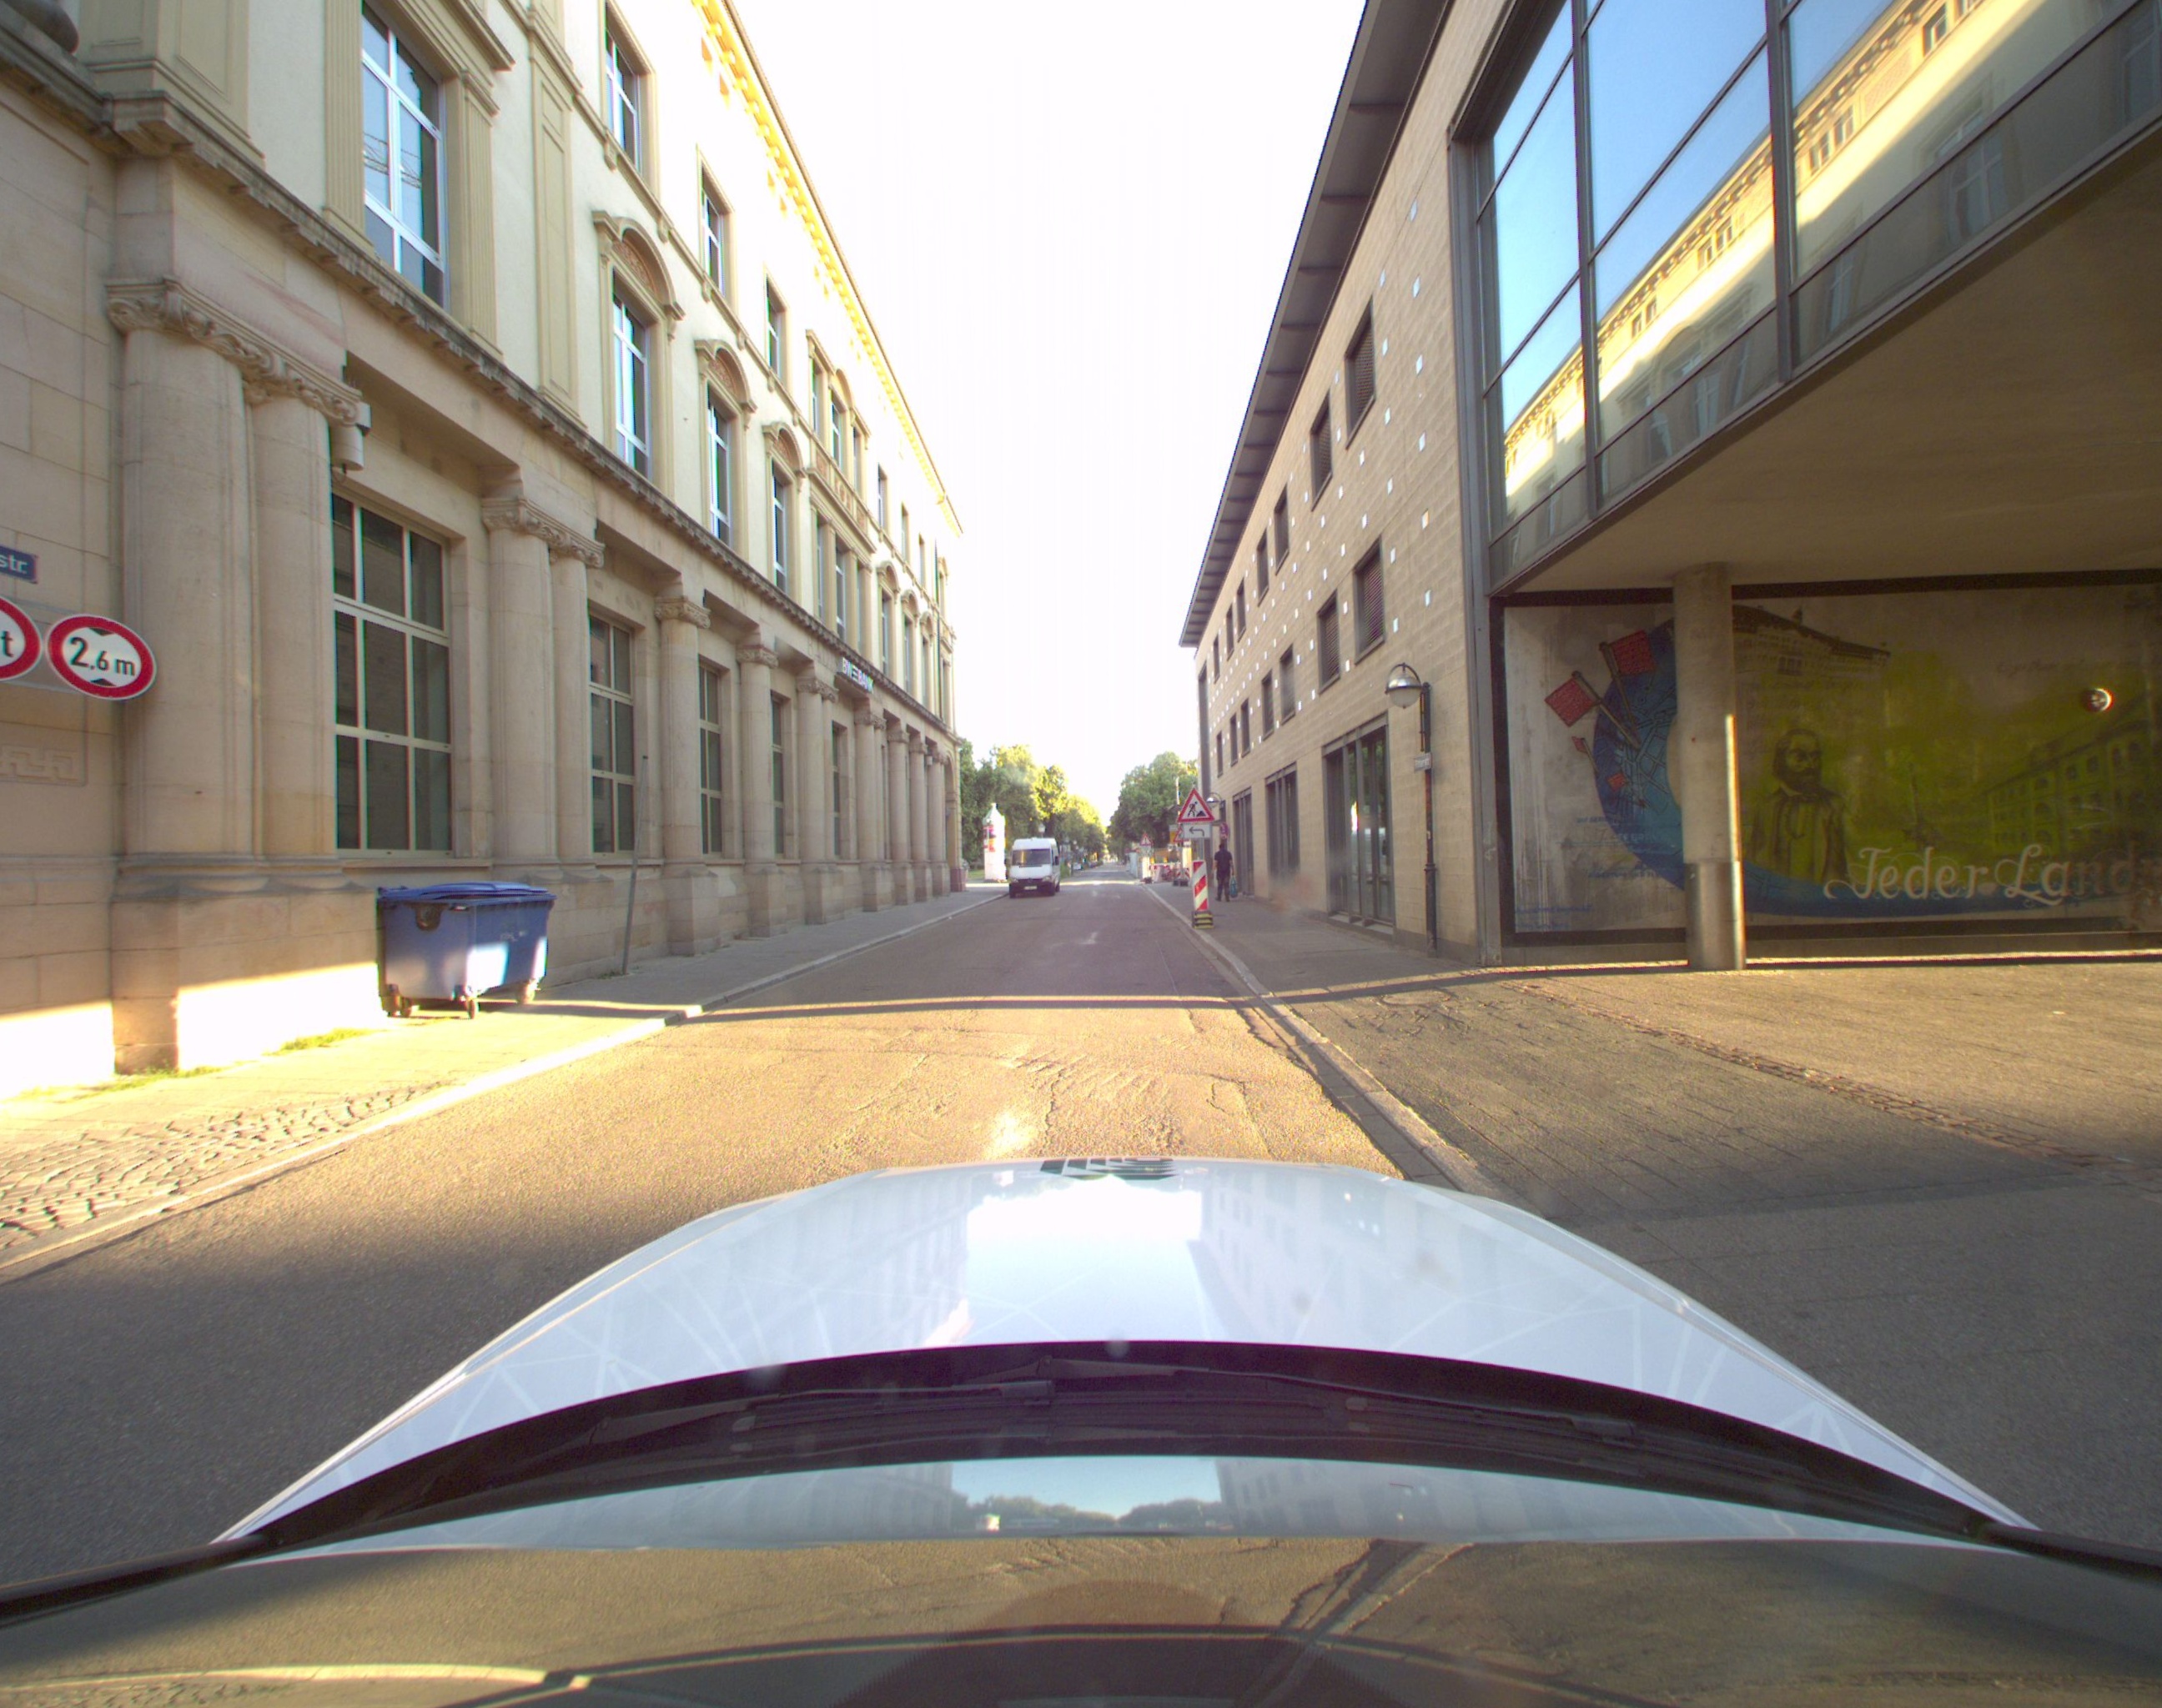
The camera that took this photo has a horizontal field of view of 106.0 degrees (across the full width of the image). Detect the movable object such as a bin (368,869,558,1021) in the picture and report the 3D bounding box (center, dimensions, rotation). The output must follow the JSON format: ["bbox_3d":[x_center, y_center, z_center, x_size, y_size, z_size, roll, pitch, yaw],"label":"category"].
[{"bbox_3d":[-6.503,0.908,8.650,1.068,1.475,1.189,-1,-1,5],"label":"movable object such as a bin"}]

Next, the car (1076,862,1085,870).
[{"bbox_3d":[-0.094,1.988,136.465,1.462,1.256,3.680,-1,0,2],"label":"car"}]

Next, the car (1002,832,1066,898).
[{"bbox_3d":[-1.961,0.456,36.299,1.988,2.512,6.474,-5,0,3],"label":"car"}]

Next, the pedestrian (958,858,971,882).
[{"bbox_3d":[-8.751,1.200,61.229,0.742,1.702,0.704,-3,-1,9],"label":"pedestrian"}]

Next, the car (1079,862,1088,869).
[{"bbox_3d":[0.497,2.068,148.858,1.462,1.256,3.680,-1,0,2],"label":"car"}]

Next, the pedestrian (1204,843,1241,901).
[{"bbox_3d":[4.353,0.542,25.136,0.919,1.702,0.869,-3,-1,1],"label":"pedestrian"}]

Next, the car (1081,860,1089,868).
[{"bbox_3d":[0.878,1.981,161.945,1.462,1.404,3.680,-1,0,2],"label":"car"}]
